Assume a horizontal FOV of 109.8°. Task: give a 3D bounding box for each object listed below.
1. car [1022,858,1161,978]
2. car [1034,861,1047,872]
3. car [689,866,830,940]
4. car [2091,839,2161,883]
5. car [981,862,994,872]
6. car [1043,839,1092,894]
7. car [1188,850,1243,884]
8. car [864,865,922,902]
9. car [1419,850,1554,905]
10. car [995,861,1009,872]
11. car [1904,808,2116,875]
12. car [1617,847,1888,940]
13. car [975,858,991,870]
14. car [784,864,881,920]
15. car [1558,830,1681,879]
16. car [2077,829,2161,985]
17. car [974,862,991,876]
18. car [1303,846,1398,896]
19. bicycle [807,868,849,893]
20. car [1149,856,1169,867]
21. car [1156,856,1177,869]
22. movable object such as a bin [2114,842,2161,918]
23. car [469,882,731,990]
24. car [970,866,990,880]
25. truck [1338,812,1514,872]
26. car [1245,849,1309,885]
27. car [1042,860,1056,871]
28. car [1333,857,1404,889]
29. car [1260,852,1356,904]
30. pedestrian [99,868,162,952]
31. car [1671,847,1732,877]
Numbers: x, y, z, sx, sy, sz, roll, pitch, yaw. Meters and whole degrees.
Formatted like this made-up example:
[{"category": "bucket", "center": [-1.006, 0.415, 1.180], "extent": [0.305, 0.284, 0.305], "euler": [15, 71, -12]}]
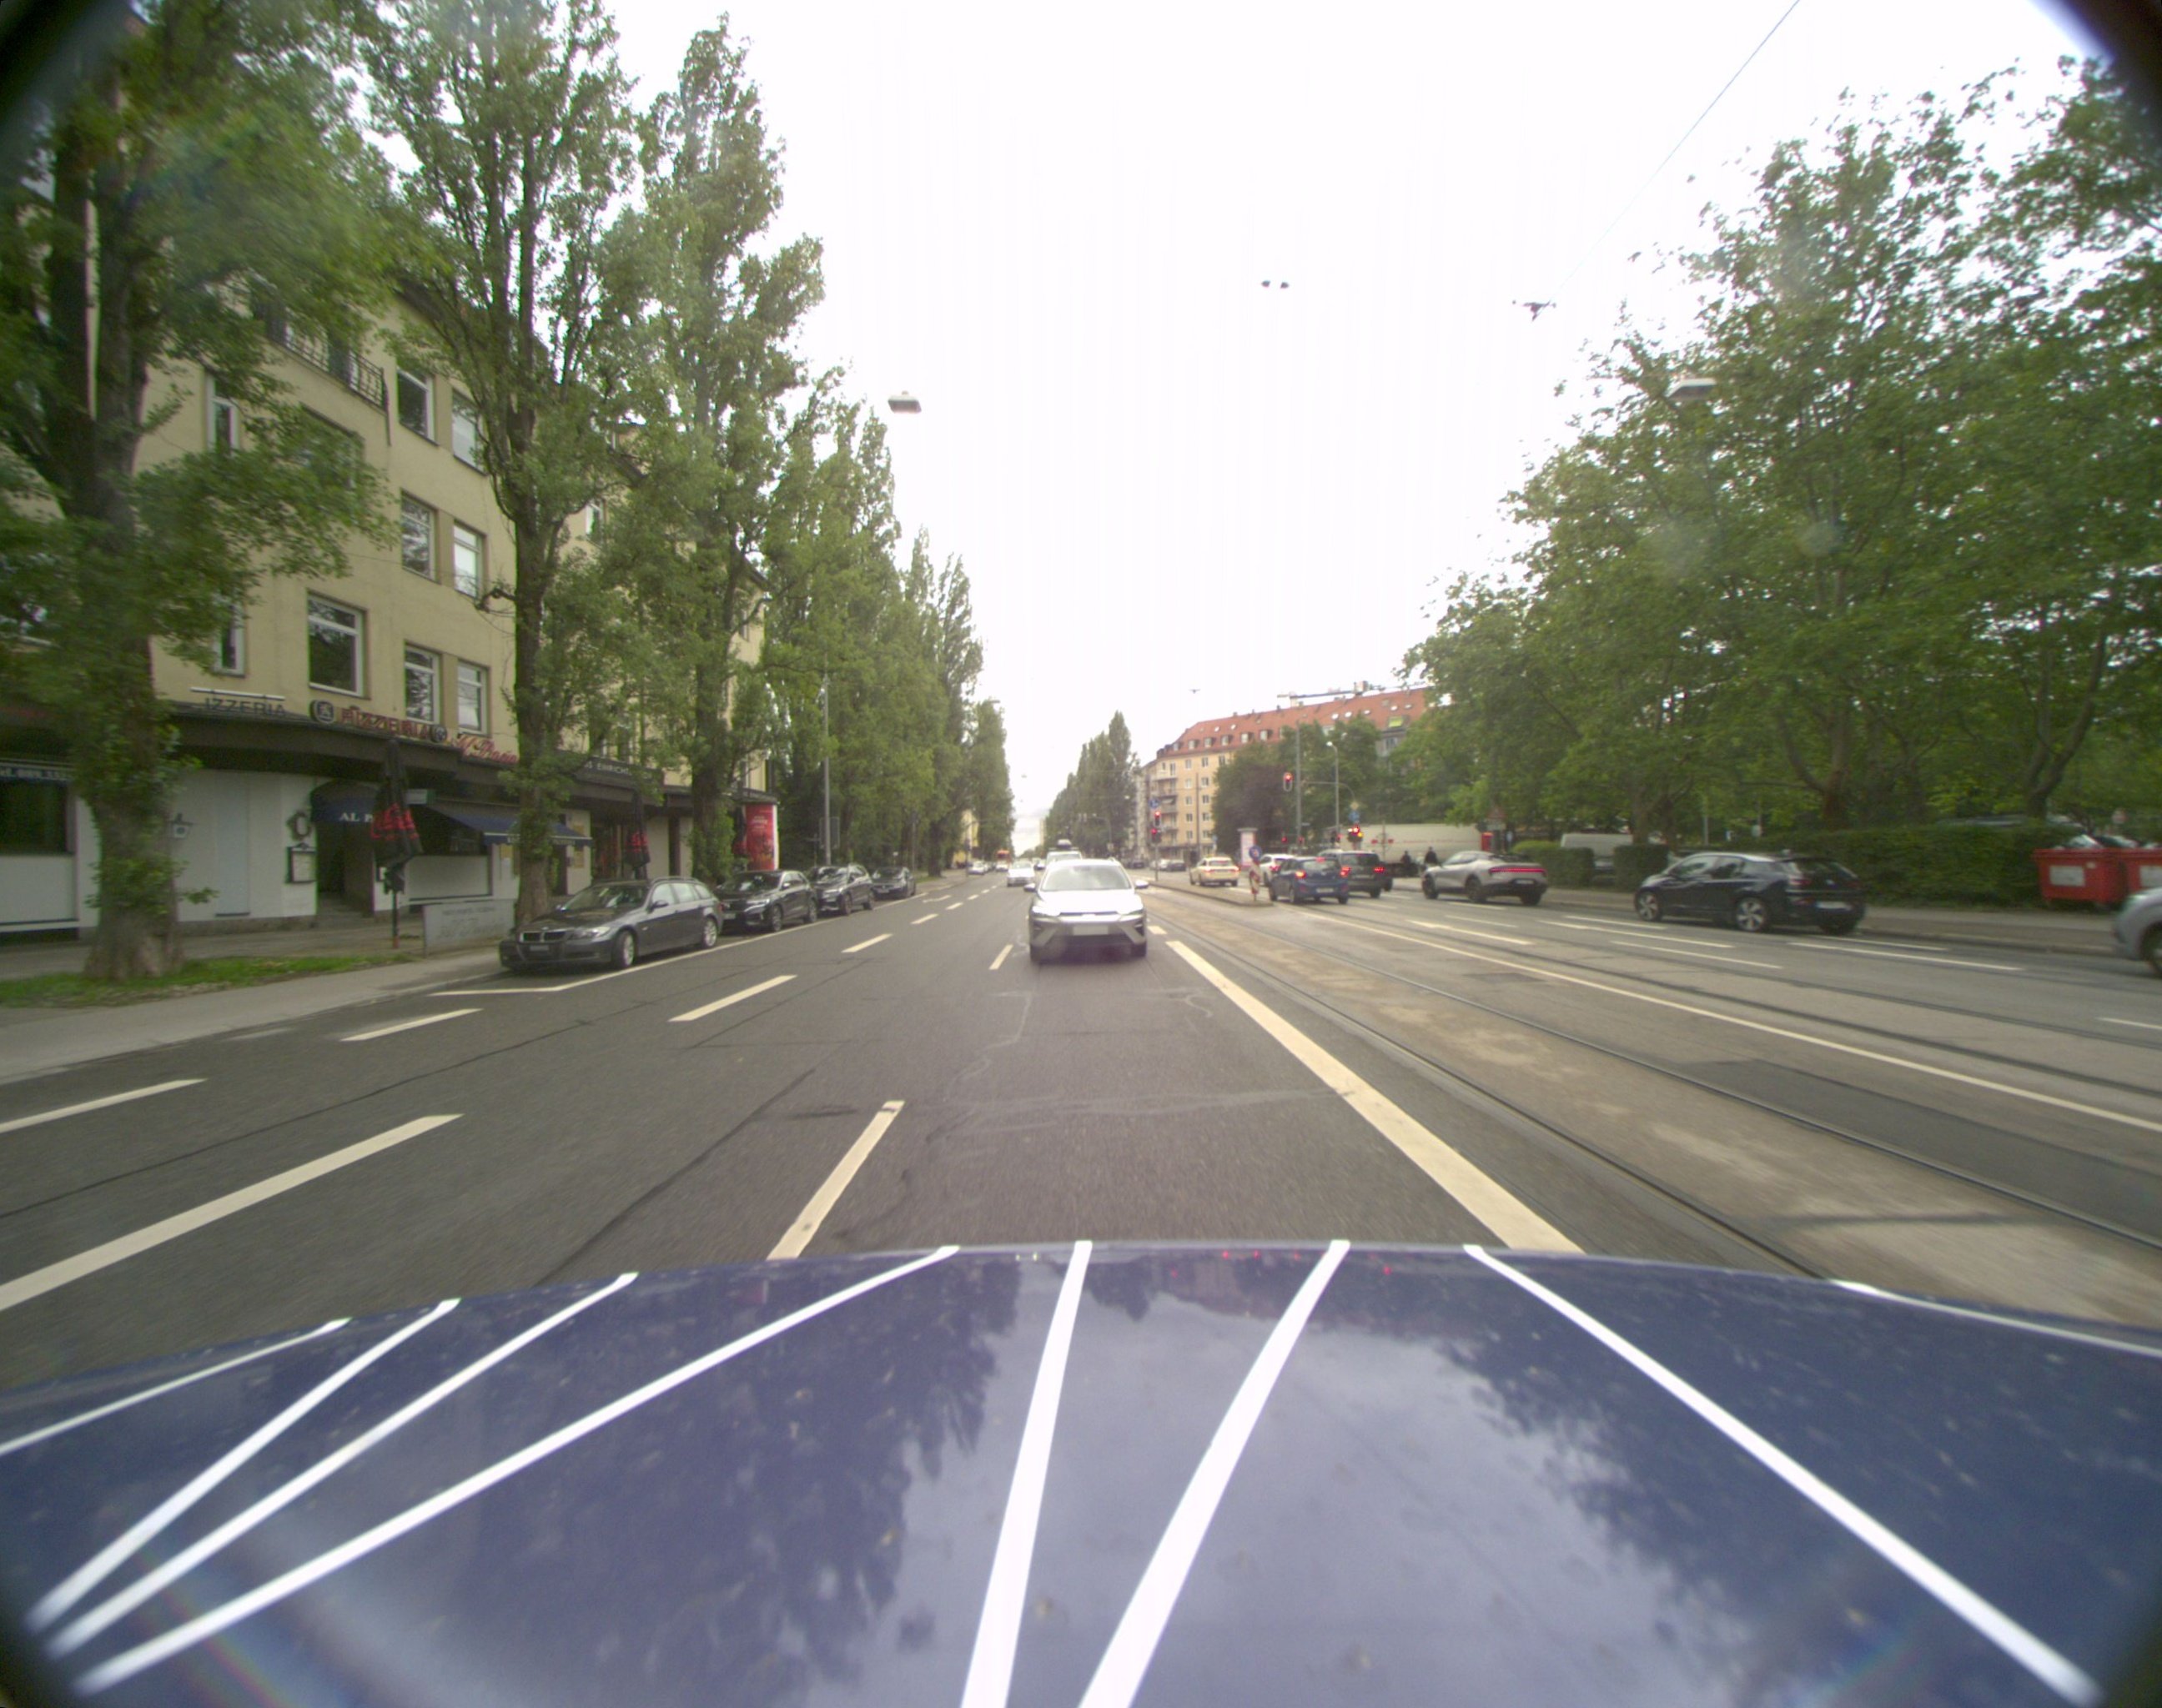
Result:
[{"category": "car", "center": [0.304, 0.870, 11.870], "extent": [1.774, 1.515, 4.211], "euler": [-1, -1, 5]}, {"category": "car", "center": [-6.308, 1.931, 117.242], "extent": [1.858, 1.673, 3.999], "euler": [-1, -2, -5]}, {"category": "car", "center": [-8.023, 1.154, 19.424], "extent": [1.804, 1.603, 4.305], "euler": [-1, 0, -1]}, {"category": "car", "center": [41.777, 0.252, 28.652], "extent": [1.999, 1.651, 4.001], "euler": [-1, -2, -1]}, {"category": "car", "center": [-14.122, 1.938, 114.940], "extent": [1.786, 1.477, 4.137], "euler": [-1, 0, -5]}, {"category": "car", "center": [-0.561, 0.535, 35.266], "extent": [1.912, 2.337, 4.946], "euler": [-1, 0, 3]}, {"category": "car", "center": [6.852, 0.610, 39.107], "extent": [1.827, 1.629, 4.890], "euler": [-1, 0, -1]}, {"category": "car", "center": [-8.323, 1.246, 33.933], "extent": [1.804, 1.457, 3.998], "euler": [-1, 0, -4]}, {"category": "car", "center": [13.052, 0.687, 24.866], "extent": [1.804, 1.633, 4.999], "euler": [0, 0, 1]}, {"category": "car", "center": [-11.268, 1.706, 108.733], "extent": [1.786, 1.477, 4.137], "euler": [-1, 0, -5]}, {"category": "car", "center": [39.410, -0.407, 32.585], "extent": [1.998, 2.519, 5.867], "euler": [-2, -2, 3]}, {"category": "car", "center": [13.518, 0.702, 15.743], "extent": [1.804, 1.657, 4.354], "euler": [0, 0, 1]}, {"category": "car", "center": [-12.555, 1.219, 97.138], "extent": [1.786, 1.477, 4.137], "euler": [-1, 0, -5]}, {"category": "car", "center": [-7.997, 1.152, 24.910], "extent": [1.725, 1.603, 4.470], "euler": [-1, 0, -1]}, {"category": "car", "center": [26.458, -0.015, 37.441], "extent": [4.612, 2.003, 2.004], "euler": [6, 3, 41]}, {"category": "car", "center": [13.150, 0.599, 7.118], "extent": [1.804, 1.769, 4.472], "euler": [0, 0, 1]}, {"category": "car", "center": [-11.970, 1.806, 92.415], "extent": [1.786, 1.477, 4.257], "euler": [-1, 0, -5]}, {"category": "car", "center": [9.976, 0.584, 28.567], "extent": [1.826, 1.673, 4.891], "euler": [-1, 0, 0]}, {"category": "bicycle", "center": [-12.612, 1.307, 37.854], "extent": [1.888, 1.178, 0.496], "euler": [-1, 0, -3]}, {"category": "car", "center": [9.894, 0.940, 96.591], "extent": [1.730, 1.399, 4.373], "euler": [-1, 0, -5]}, {"category": "car", "center": [10.272, 0.994, 91.293], "extent": [1.730, 1.399, 4.373], "euler": [-1, 0, -5]}, {"category": "movable object such as a bin", "center": [20.747, 0.489, 14.339], "extent": [0.937, 1.345, 1.082], "euler": [-6, 1, -4]}, {"category": "car", "center": [-8.035, 1.273, 13.287], "extent": [1.804, 1.390, 4.381], "euler": [-1, 0, -1]}, {"category": "car", "center": [-11.440, 2.110, 86.025], "extent": [1.785, 1.477, 4.351], "euler": [-1, 0, -2]}, {"category": "truck", "center": [24.092, -0.792, 53.189], "extent": [11.717, 3.957, 2.745], "euler": [0, 1, -10]}, {"category": "car", "center": [9.737, 0.598, 38.165], "extent": [1.920, 1.673, 4.890], "euler": [-1, 0, -1]}, {"category": "car", "center": [-4.465, 1.541, 105.785], "extent": [1.786, 1.477, 4.137], "euler": [-1, 0, -5]}, {"category": "car", "center": [13.482, 0.865, 35.876], "extent": [1.826, 1.373, 4.098], "euler": [-1, 0, 0]}, {"category": "car", "center": [7.182, 0.702, 24.498], "extent": [1.804, 1.514, 4.354], "euler": [0, 1, 1]}, {"category": "pedestrian", "center": [-17.907, 1.045, 14.322], "extent": [0.574, 1.553, 0.496], "euler": [-1, -1, 0]}, {"category": "car", "center": [34.027, 0.453, 41.729], "extent": [1.467, 1.571, 2.836], "euler": [-2, -2, 14]}]
